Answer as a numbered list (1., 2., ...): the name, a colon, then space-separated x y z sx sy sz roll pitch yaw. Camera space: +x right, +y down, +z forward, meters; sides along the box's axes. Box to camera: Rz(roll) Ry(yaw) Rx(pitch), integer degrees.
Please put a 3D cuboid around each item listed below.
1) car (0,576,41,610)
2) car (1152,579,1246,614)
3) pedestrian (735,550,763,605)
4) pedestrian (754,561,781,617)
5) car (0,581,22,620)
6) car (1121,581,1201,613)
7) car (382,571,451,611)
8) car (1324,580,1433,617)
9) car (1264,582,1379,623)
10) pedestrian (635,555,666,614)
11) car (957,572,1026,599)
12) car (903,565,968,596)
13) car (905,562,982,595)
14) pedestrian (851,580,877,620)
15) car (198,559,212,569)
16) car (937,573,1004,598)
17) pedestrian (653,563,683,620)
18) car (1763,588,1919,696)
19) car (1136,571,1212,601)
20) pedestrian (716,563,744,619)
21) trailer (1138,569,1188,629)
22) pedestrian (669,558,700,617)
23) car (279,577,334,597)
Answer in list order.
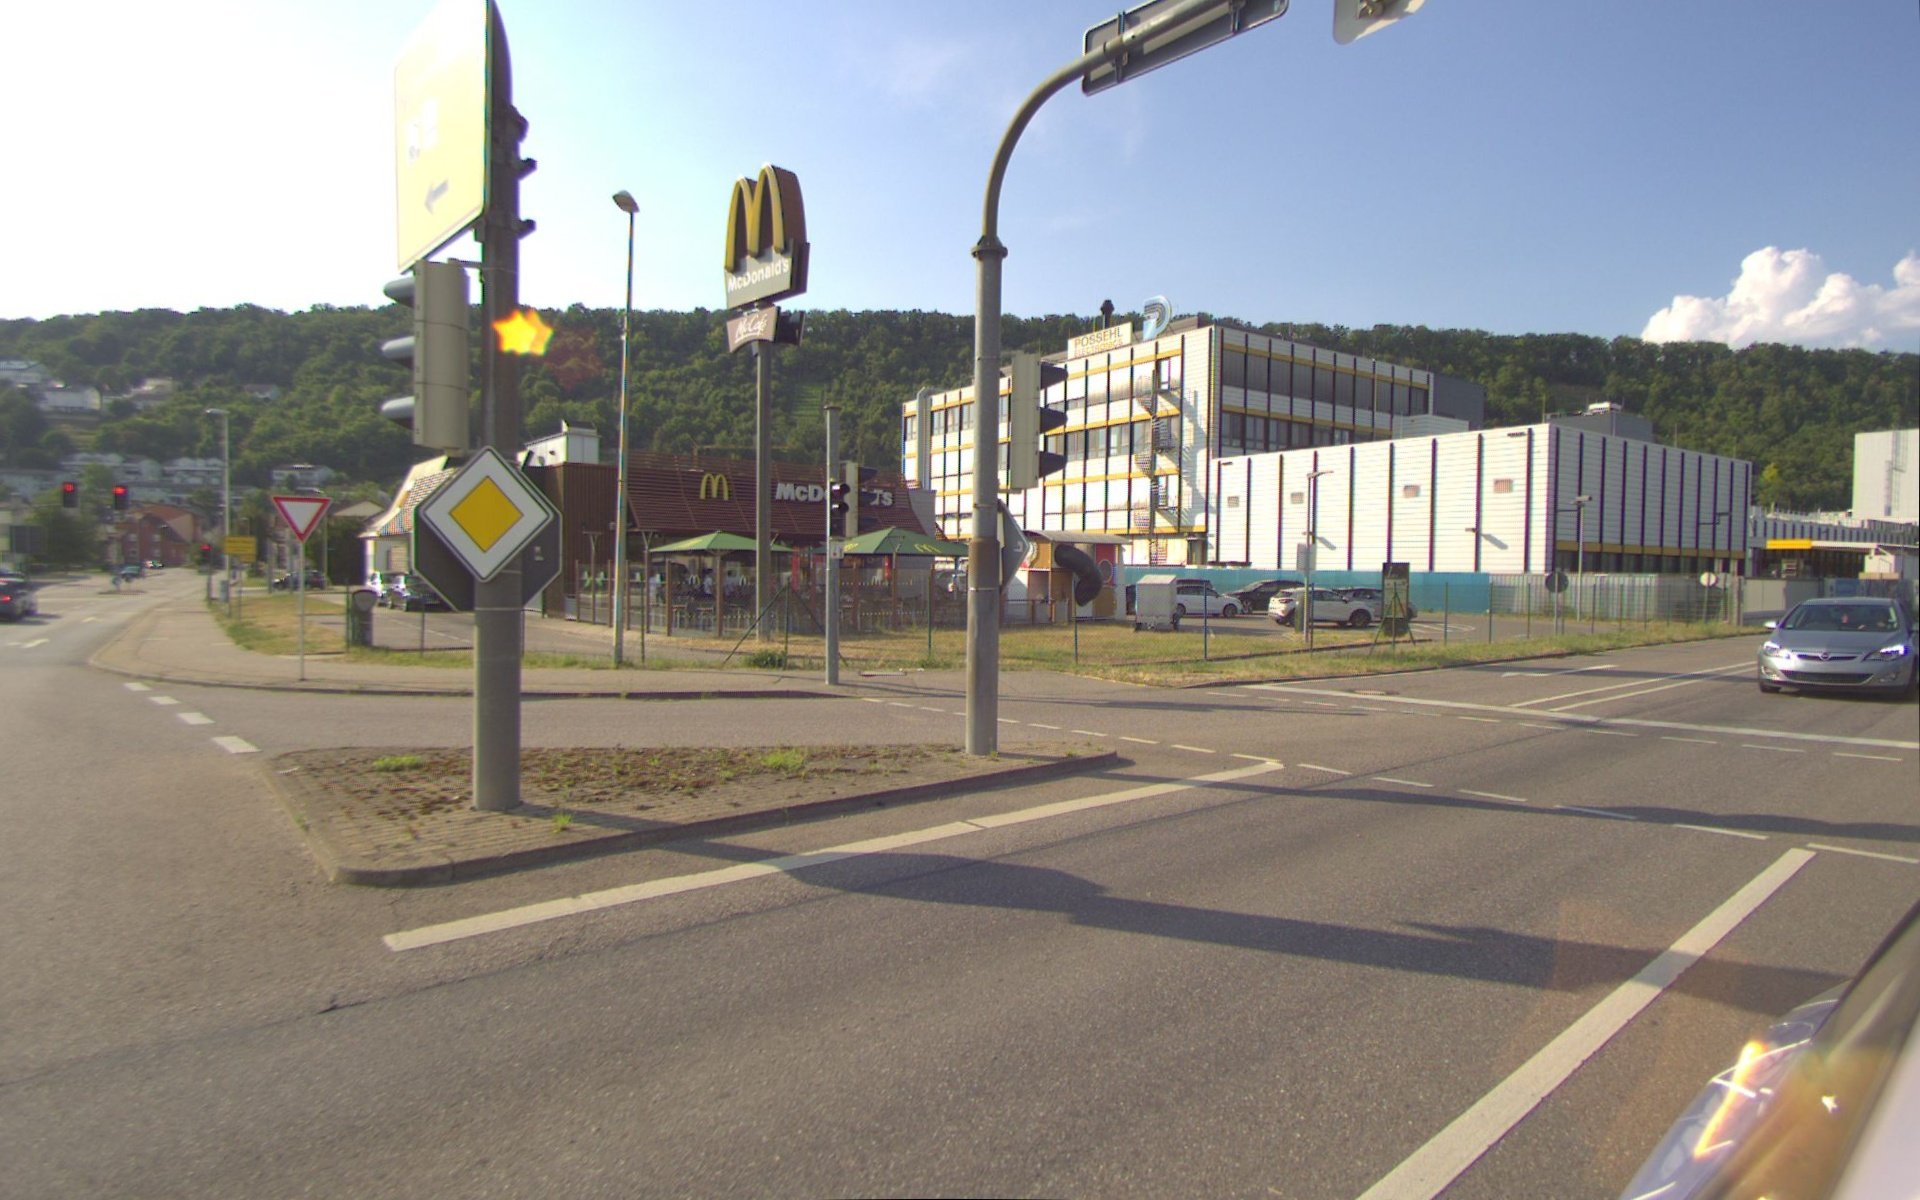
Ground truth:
1. car: -42.591 -0.306 45.346 1.658 1.438 3.653 -1 0 -35
2. car: 10.586 -0.156 44.970 3.698 1.473 1.700 -1 0 -8
3. pedestrian: -7.962 -0.838 38.181 0.749 2.039 0.735 -1 0 -37
4. pedestrian: -7.193 -0.406 37.777 0.749 2.039 0.735 -1 0 -37
5. car: -38.490 0.032 40.184 1.548 1.505 3.321 -1 0 -38
6. car: 9.252 -0.166 46.694 3.312 1.405 1.459 -1 0 -9
7. car: -22.350 -0.409 41.557 1.827 1.475 3.997 -1 3 -39
8. car: 17.835 -0.071 43.213 3.827 1.524 1.880 -1 0 -7
9. car: 14.336 0.085 40.234 3.829 1.524 1.879 -1 0 -5
10. pedestrian: -10.814 -0.548 35.345 0.731 2.039 0.754 -1 0 35
11. car: 1.741 -0.796 56.626 3.595 1.433 1.799 -1 0 -9
12. car: -1.479 -1.160 61.100 3.684 1.800 1.822 -1 0 -9
13. car: -1.168 -1.553 71.691 5.059 2.259 2.015 -1 0 -22
14. pedestrian: -3.293 -0.002 34.652 0.587 1.354 0.672 -1 0 -44
15. car: -114.806 -5.494 153.941 1.559 1.414 3.376 -1 0 -39
16. car: 0.566 -0.839 58.617 3.595 1.433 1.799 -1 0 -9
17. pedestrian: -10.731 -0.307 37.146 0.758 2.039 0.727 -1 0 33
18. car: 13.861 0.546 15.542 3.815 1.408 1.690 -1 2 -40
19. car: 10.832 -0.711 51.344 3.358 1.473 1.700 -1 0 -8
20. pedestrian: -8.477 -0.336 37.334 0.726 2.039 0.759 -1 0 19
21. trailer: 7.278 -0.064 36.043 1.330 1.972 3.461 2 1 17
22. pedestrian: -9.560 -0.433 35.175 0.726 2.039 0.759 -1 0 19
23. car: -56.197 -1.135 87.015 3.925 1.690 1.829 -1 0 -36
